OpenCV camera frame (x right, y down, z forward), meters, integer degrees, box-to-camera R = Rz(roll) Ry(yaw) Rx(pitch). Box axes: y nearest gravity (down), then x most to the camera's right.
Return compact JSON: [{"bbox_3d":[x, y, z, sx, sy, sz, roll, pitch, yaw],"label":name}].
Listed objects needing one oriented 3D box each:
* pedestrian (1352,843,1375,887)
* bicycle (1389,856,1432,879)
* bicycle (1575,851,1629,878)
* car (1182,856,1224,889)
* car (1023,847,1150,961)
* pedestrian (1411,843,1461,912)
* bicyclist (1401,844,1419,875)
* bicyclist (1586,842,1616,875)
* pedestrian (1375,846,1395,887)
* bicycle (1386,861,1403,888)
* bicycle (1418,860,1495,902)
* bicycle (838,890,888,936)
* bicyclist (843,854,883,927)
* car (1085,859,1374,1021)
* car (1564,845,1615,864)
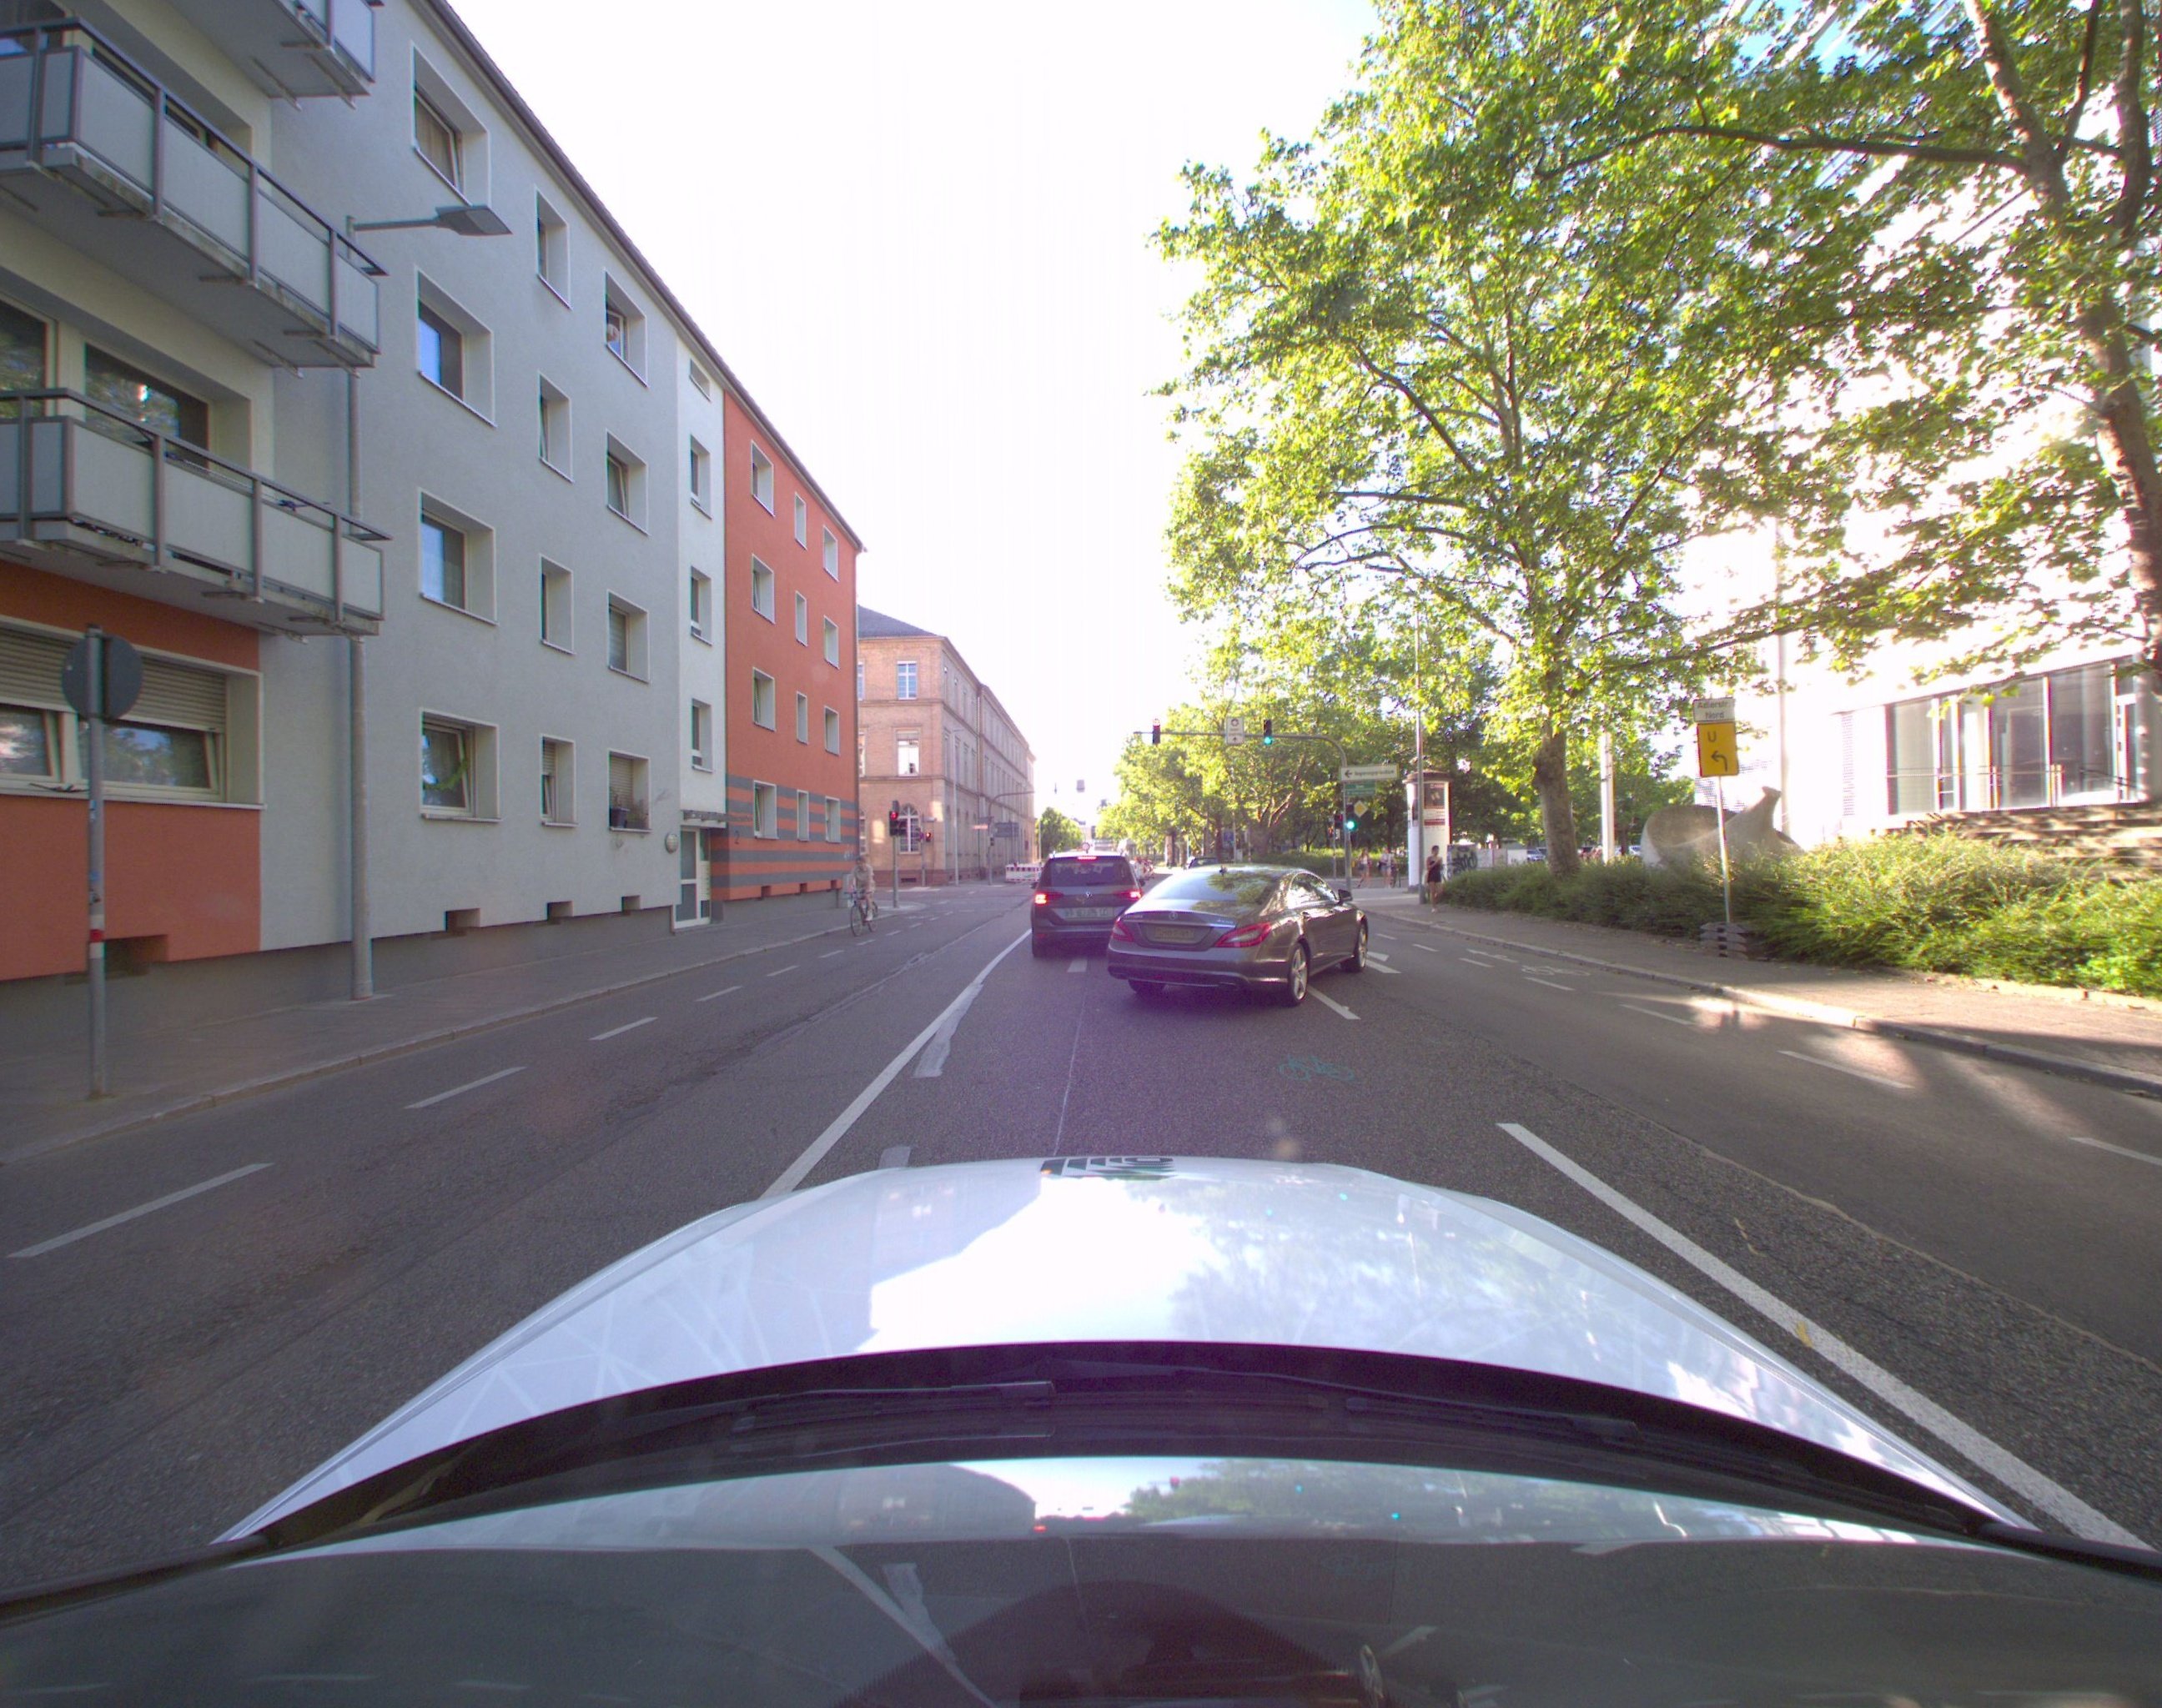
[{"bbox_3d":[11.974,0.468,34.524,0.727,1.808,0.912,-2,-2,12],"label":"pedestrian"},{"bbox_3d":[17.768,0.705,43.927,2.023,1.220,0.599,0,-1,1],"label":"bicycle"},{"bbox_3d":[26.404,0.529,41.266,2.279,1.326,0.660,0,-1,2],"label":"bicycle"},{"bbox_3d":[5.684,0.839,38.364,1.682,1.440,3.906,-1,-1,4],"label":"car"},{"bbox_3d":[0.197,0.745,13.787,1.801,1.612,4.003,-1,-1,3],"label":"car"},{"bbox_3d":[8.721,0.568,20.039,0.795,1.630,0.908,-3,-1,3],"label":"pedestrian"},{"bbox_3d":[17.750,0.300,43.942,0.707,1.697,0.676,0,-1,1],"label":"bicyclist"},{"bbox_3d":[26.349,0.228,41.272,0.960,1.615,0.871,0,-1,4],"label":"bicyclist"},{"bbox_3d":[12.771,0.512,34.260,0.678,1.697,0.974,-1,-1,15],"label":"pedestrian"},{"bbox_3d":[13.152,0.839,34.187,0.520,1.100,1.749,-1,-1,16],"label":"bicycle"},{"bbox_3d":[10.796,0.775,23.430,1.969,1.190,0.528,0,-1,0],"label":"bicycle"},{"bbox_3d":[-4.790,1.284,18.019,0.546,0.891,1.868,0,-1,2],"label":"bicycle"},{"bbox_3d":[-4.794,0.794,17.954,0.646,1.558,0.807,0,-1,1],"label":"bicyclist"},{"bbox_3d":[2.014,0.779,9.620,1.825,1.429,4.545,-1,-1,31],"label":"car"},{"bbox_3d":[39.730,0.062,63.756,1.624,1.483,3.796,0,-1,1],"label":"car"}]
